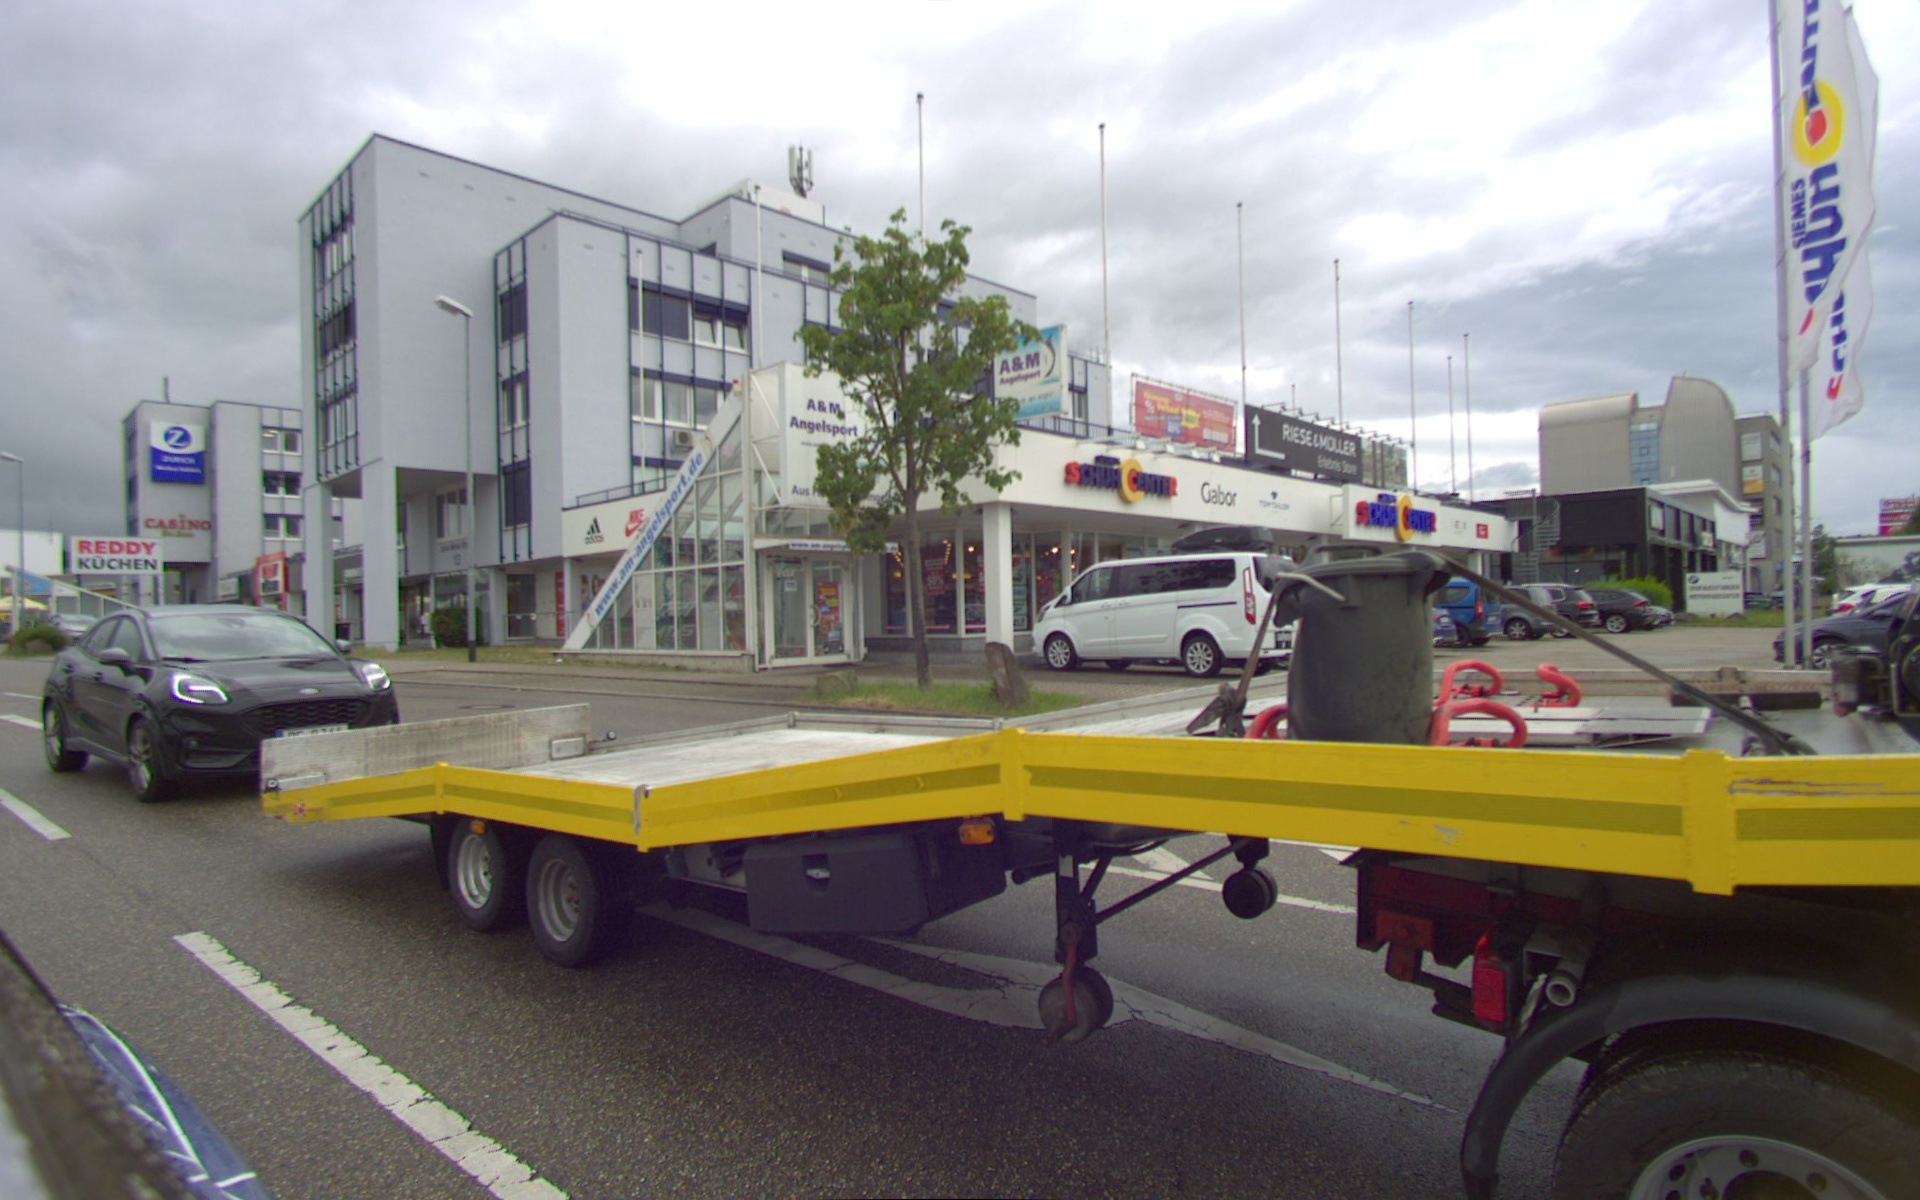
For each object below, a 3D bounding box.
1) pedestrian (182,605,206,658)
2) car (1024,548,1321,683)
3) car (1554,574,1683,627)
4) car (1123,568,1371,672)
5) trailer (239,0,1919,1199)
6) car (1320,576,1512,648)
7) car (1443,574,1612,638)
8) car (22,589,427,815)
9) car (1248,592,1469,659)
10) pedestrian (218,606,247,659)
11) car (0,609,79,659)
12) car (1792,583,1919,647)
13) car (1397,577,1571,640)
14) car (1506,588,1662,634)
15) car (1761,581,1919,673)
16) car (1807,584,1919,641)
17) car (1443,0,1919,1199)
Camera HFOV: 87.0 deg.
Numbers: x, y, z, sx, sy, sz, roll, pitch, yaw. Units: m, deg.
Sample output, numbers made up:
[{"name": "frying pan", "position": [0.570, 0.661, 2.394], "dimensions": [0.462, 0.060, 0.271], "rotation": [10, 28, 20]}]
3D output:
[{"name": "pedestrian", "position": [-24.826, 1.013, 32.805], "dimensions": [0.519, 1.720, 0.543], "rotation": [-1, 0, 43]}, {"name": "car", "position": [3.546, 0.261, 17.619], "dimensions": [1.970, 2.029, 4.791], "rotation": [1, -1, -44]}, {"name": "car", "position": [26.489, 0.047, 40.792], "dimensions": [1.882, 2.029, 4.004], "rotation": [0, -1, -43]}, {"name": "car", "position": [5.586, 0.374, 20.079], "dimensions": [4.377, 1.834, 1.869], "rotation": [-1, -1, 44]}, {"name": "trailer", "position": [-0.406, 0.156, 4.259], "dimensions": [7.963, 2.493, 2.280], "rotation": [0, -1, 39]}, {"name": "car", "position": [12.312, 0.324, 27.488], "dimensions": [4.377, 1.777, 1.869], "rotation": [-1, -1, 44]}, {"name": "car", "position": [18.098, 0.201, 32.391], "dimensions": [4.377, 1.920, 1.869], "rotation": [-1, -1, 44]}, {"name": "car", "position": [-6.626, 0.734, 8.990], "dimensions": [3.993, 1.552, 1.792], "rotation": [-1, 0, 37]}, {"name": "car", "position": [9.064, 0.556, 23.272], "dimensions": [4.377, 1.404, 1.797], "rotation": [-1, -1, 44]}, {"name": "pedestrian", "position": [-24.466, 1.093, 34.032], "dimensions": [0.634, 1.756, 0.590], "rotation": [-1, 0, -17]}, {"name": "car", "position": [-32.875, 1.202, 35.981], "dimensions": [3.998, 1.622, 1.799], "rotation": [-2, 0, 41]}, {"name": "car", "position": [21.562, 0.336, 22.878], "dimensions": [4.128, 1.404, 1.872], "rotation": [-1, -1, 44]}, {"name": "car", "position": [15.926, 0.269, 30.900], "dimensions": [4.377, 1.777, 1.869], "rotation": [-1, -1, 44]}, {"name": "car", "position": [21.913, 0.394, 35.656], "dimensions": [4.377, 1.509, 1.869], "rotation": [-1, -1, 44]}, {"name": "car", "position": [15.409, 0.414, 15.956], "dimensions": [1.795, 1.404, 4.132], "rotation": [0, -1, -42]}, {"name": "car", "position": [24.275, 0.321, 25.689], "dimensions": [4.128, 1.404, 1.797], "rotation": [-1, -1, 44]}, {"name": "car", "position": [3.467, 0.092, 1.037], "dimensions": [5.010, 2.493, 2.217], "rotation": [0, -1, 39]}]
